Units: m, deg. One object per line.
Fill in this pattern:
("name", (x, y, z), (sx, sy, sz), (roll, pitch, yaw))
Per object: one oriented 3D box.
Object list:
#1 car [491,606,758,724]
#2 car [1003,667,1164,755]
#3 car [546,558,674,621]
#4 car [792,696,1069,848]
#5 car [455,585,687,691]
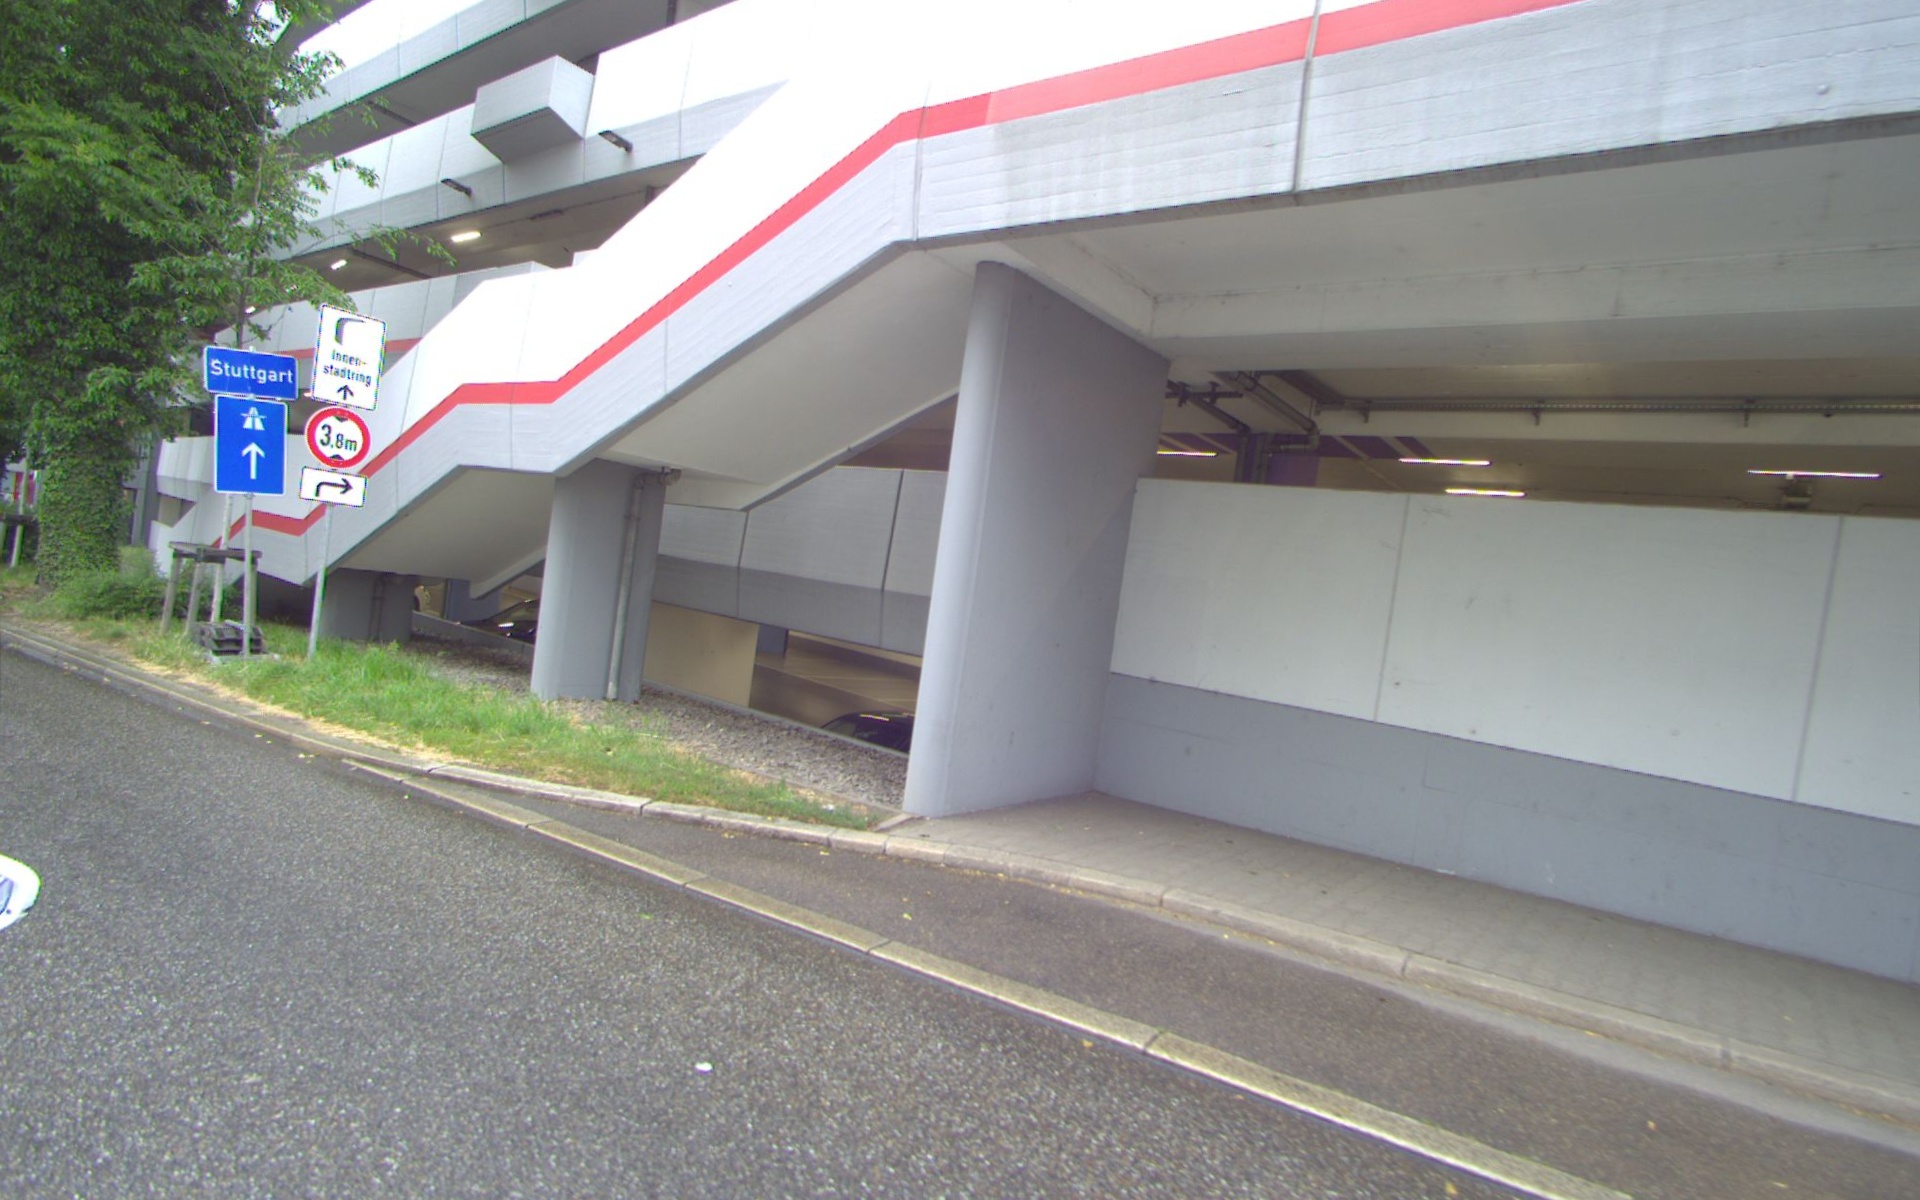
("car", (-5.719, 1.187, 17.558), (1.810, 1.643, 3.988), (7, -1, 36))
("car", (2.974, 2.583, 23.613), (1.810, 1.559, 3.988), (11, 1, 37))
("car", (-12.888, -0.351, 37.180), (1.792, 1.804, 3.979), (7, 0, 44))
("car", (-0.291, 2.391, 14.704), (1.810, 1.559, 3.931), (11, 1, 37))
("car", (-7.525, 0.790, 19.742), (1.782, 1.559, 3.734), (11, 1, 37))
